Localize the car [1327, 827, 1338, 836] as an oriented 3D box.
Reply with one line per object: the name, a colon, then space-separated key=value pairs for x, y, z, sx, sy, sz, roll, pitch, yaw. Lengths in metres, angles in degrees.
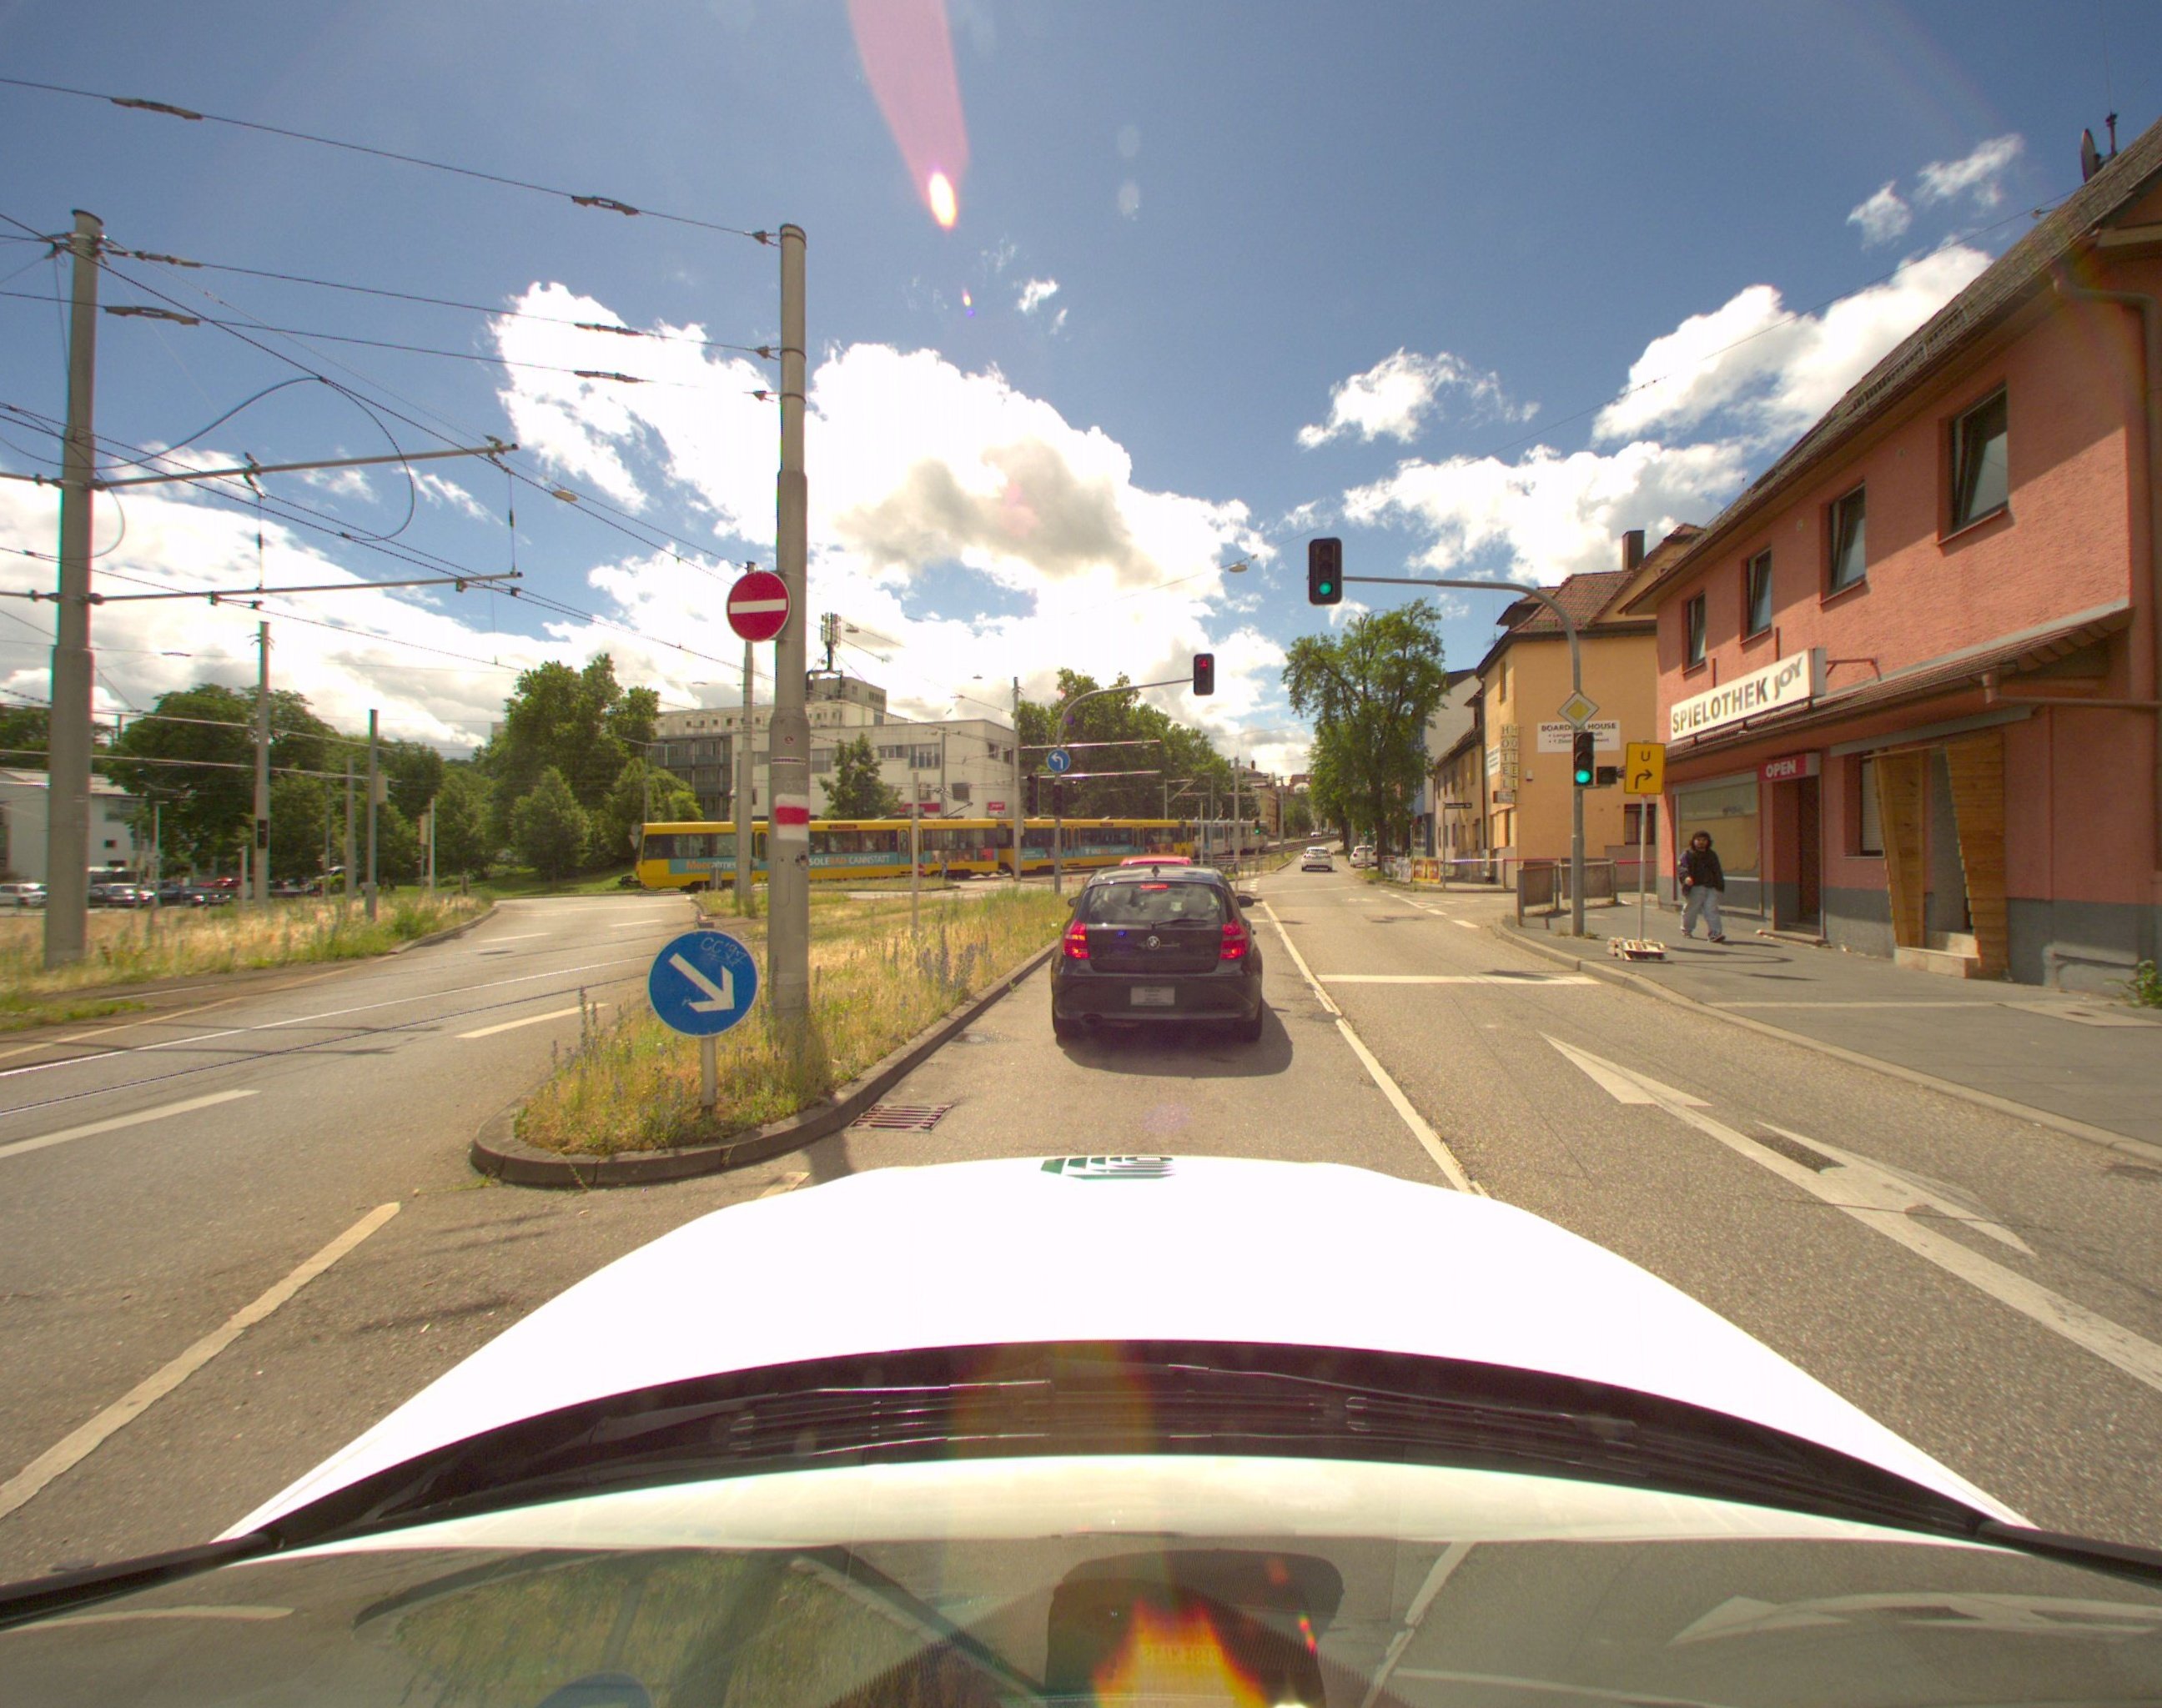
car: x=63.642 y=-5.679 z=206.030 sx=1.975 sy=2.014 sz=4.023 roll=-2 pitch=-1 yaw=25

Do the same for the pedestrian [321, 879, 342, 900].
pedestrian: x=-57.531 y=2.708 z=62.530 sx=0.808 sy=1.576 sz=0.844 roll=-1 pitch=0 yaw=9

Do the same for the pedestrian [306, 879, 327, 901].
pedestrian: x=-57.932 y=2.711 z=61.721 sx=0.808 sy=1.576 sz=0.844 roll=-1 pitch=0 yaw=9

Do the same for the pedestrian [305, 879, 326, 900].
pedestrian: x=-59.440 y=2.781 z=63.230 sx=0.808 sy=1.576 sz=0.844 roll=-1 pitch=0 yaw=9

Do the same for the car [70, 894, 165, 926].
car: x=-56.696 y=3.290 z=47.952 sx=4.210 sy=1.651 sz=1.926 roll=-2 pitch=-1 yaw=14

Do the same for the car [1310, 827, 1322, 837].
car: x=54.069 y=-5.039 z=187.187 sx=1.975 sy=2.014 sz=4.023 roll=-2 pitch=-1 yaw=25

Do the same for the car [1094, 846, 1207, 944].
car: x=1.364 y=0.650 z=14.564 sx=1.615 sy=1.473 sz=4.011 roll=-2 pitch=-1 yaw=10

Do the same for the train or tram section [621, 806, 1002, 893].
train or tram section: x=-13.650 y=-0.356 z=43.533 sx=18.957 sy=3.919 sz=3.724 roll=-1 pitch=-1 yaw=-31

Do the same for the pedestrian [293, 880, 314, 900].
pedestrian: x=-61.797 y=2.856 z=64.746 sx=0.808 sy=1.576 sz=0.844 roll=-1 pitch=0 yaw=9

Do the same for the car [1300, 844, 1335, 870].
car: x=14.515 y=0.136 z=50.116 sx=1.802 sy=1.468 sz=4.015 roll=3 pitch=1 yaw=14

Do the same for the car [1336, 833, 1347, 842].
car: x=43.914 y=-2.796 z=137.150 sx=1.801 sy=1.468 sz=4.019 roll=1 pitch=1 yaw=18

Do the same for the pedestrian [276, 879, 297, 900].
pedestrian: x=-62.250 y=2.804 z=63.797 sx=0.808 sy=1.576 sz=0.844 roll=-1 pitch=0 yaw=9

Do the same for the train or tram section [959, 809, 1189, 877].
train or tram section: x=0.466 y=-0.701 z=55.635 sx=3.713 sy=3.829 sz=20.277 roll=-3 pitch=-1 yaw=38

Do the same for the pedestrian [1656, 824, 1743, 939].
pedestrian: x=9.120 y=0.391 z=12.042 sx=0.758 sy=1.642 sz=0.781 roll=-2 pitch=1 yaw=15

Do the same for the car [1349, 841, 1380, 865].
car: x=19.736 y=-0.065 z=56.819 sx=1.773 sy=1.596 sz=4.017 roll=-2 pitch=-1 yaw=17

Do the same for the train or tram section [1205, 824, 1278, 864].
train or tram section: x=18.231 y=-0.975 z=90.684 sx=3.716 sy=3.814 sz=20.161 roll=-2 pitch=-1 yaw=23

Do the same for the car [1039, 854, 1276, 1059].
car: x=0.611 y=0.776 z=7.989 sx=1.695 sy=1.452 sz=4.001 roll=-2 pitch=-1 yaw=1

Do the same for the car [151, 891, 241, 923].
car: x=-54.971 y=3.268 z=50.605 sx=4.195 sy=1.791 sz=2.031 roll=-2 pitch=-1 yaw=14

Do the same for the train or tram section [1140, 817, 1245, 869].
train or tram section: x=10.483 y=-0.853 z=72.402 sx=3.716 sy=3.879 sz=20.749 roll=-2 pitch=-1 yaw=23

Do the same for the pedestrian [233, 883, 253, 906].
pedestrian: x=-67.962 y=3.287 z=66.040 sx=0.811 sy=1.866 sz=0.836 roll=-1 pitch=0 yaw=17

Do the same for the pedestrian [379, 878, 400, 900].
pedestrian: x=-51.825 y=2.595 z=61.018 sx=0.808 sy=1.576 sz=0.844 roll=-1 pitch=0 yaw=9

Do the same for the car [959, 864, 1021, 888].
car: x=-6.605 y=1.580 z=59.493 sx=4.191 sy=1.585 sz=1.837 roll=-1 pitch=-1 yaw=-40

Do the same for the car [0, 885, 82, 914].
car: x=-63.183 y=2.742 z=49.156 sx=4.445 sy=1.555 sz=1.946 roll=-2 pitch=-1 yaw=14

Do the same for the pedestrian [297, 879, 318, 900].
pedestrian: x=-59.523 y=2.719 z=62.674 sx=0.808 sy=1.576 sz=0.844 roll=-1 pitch=0 yaw=9
